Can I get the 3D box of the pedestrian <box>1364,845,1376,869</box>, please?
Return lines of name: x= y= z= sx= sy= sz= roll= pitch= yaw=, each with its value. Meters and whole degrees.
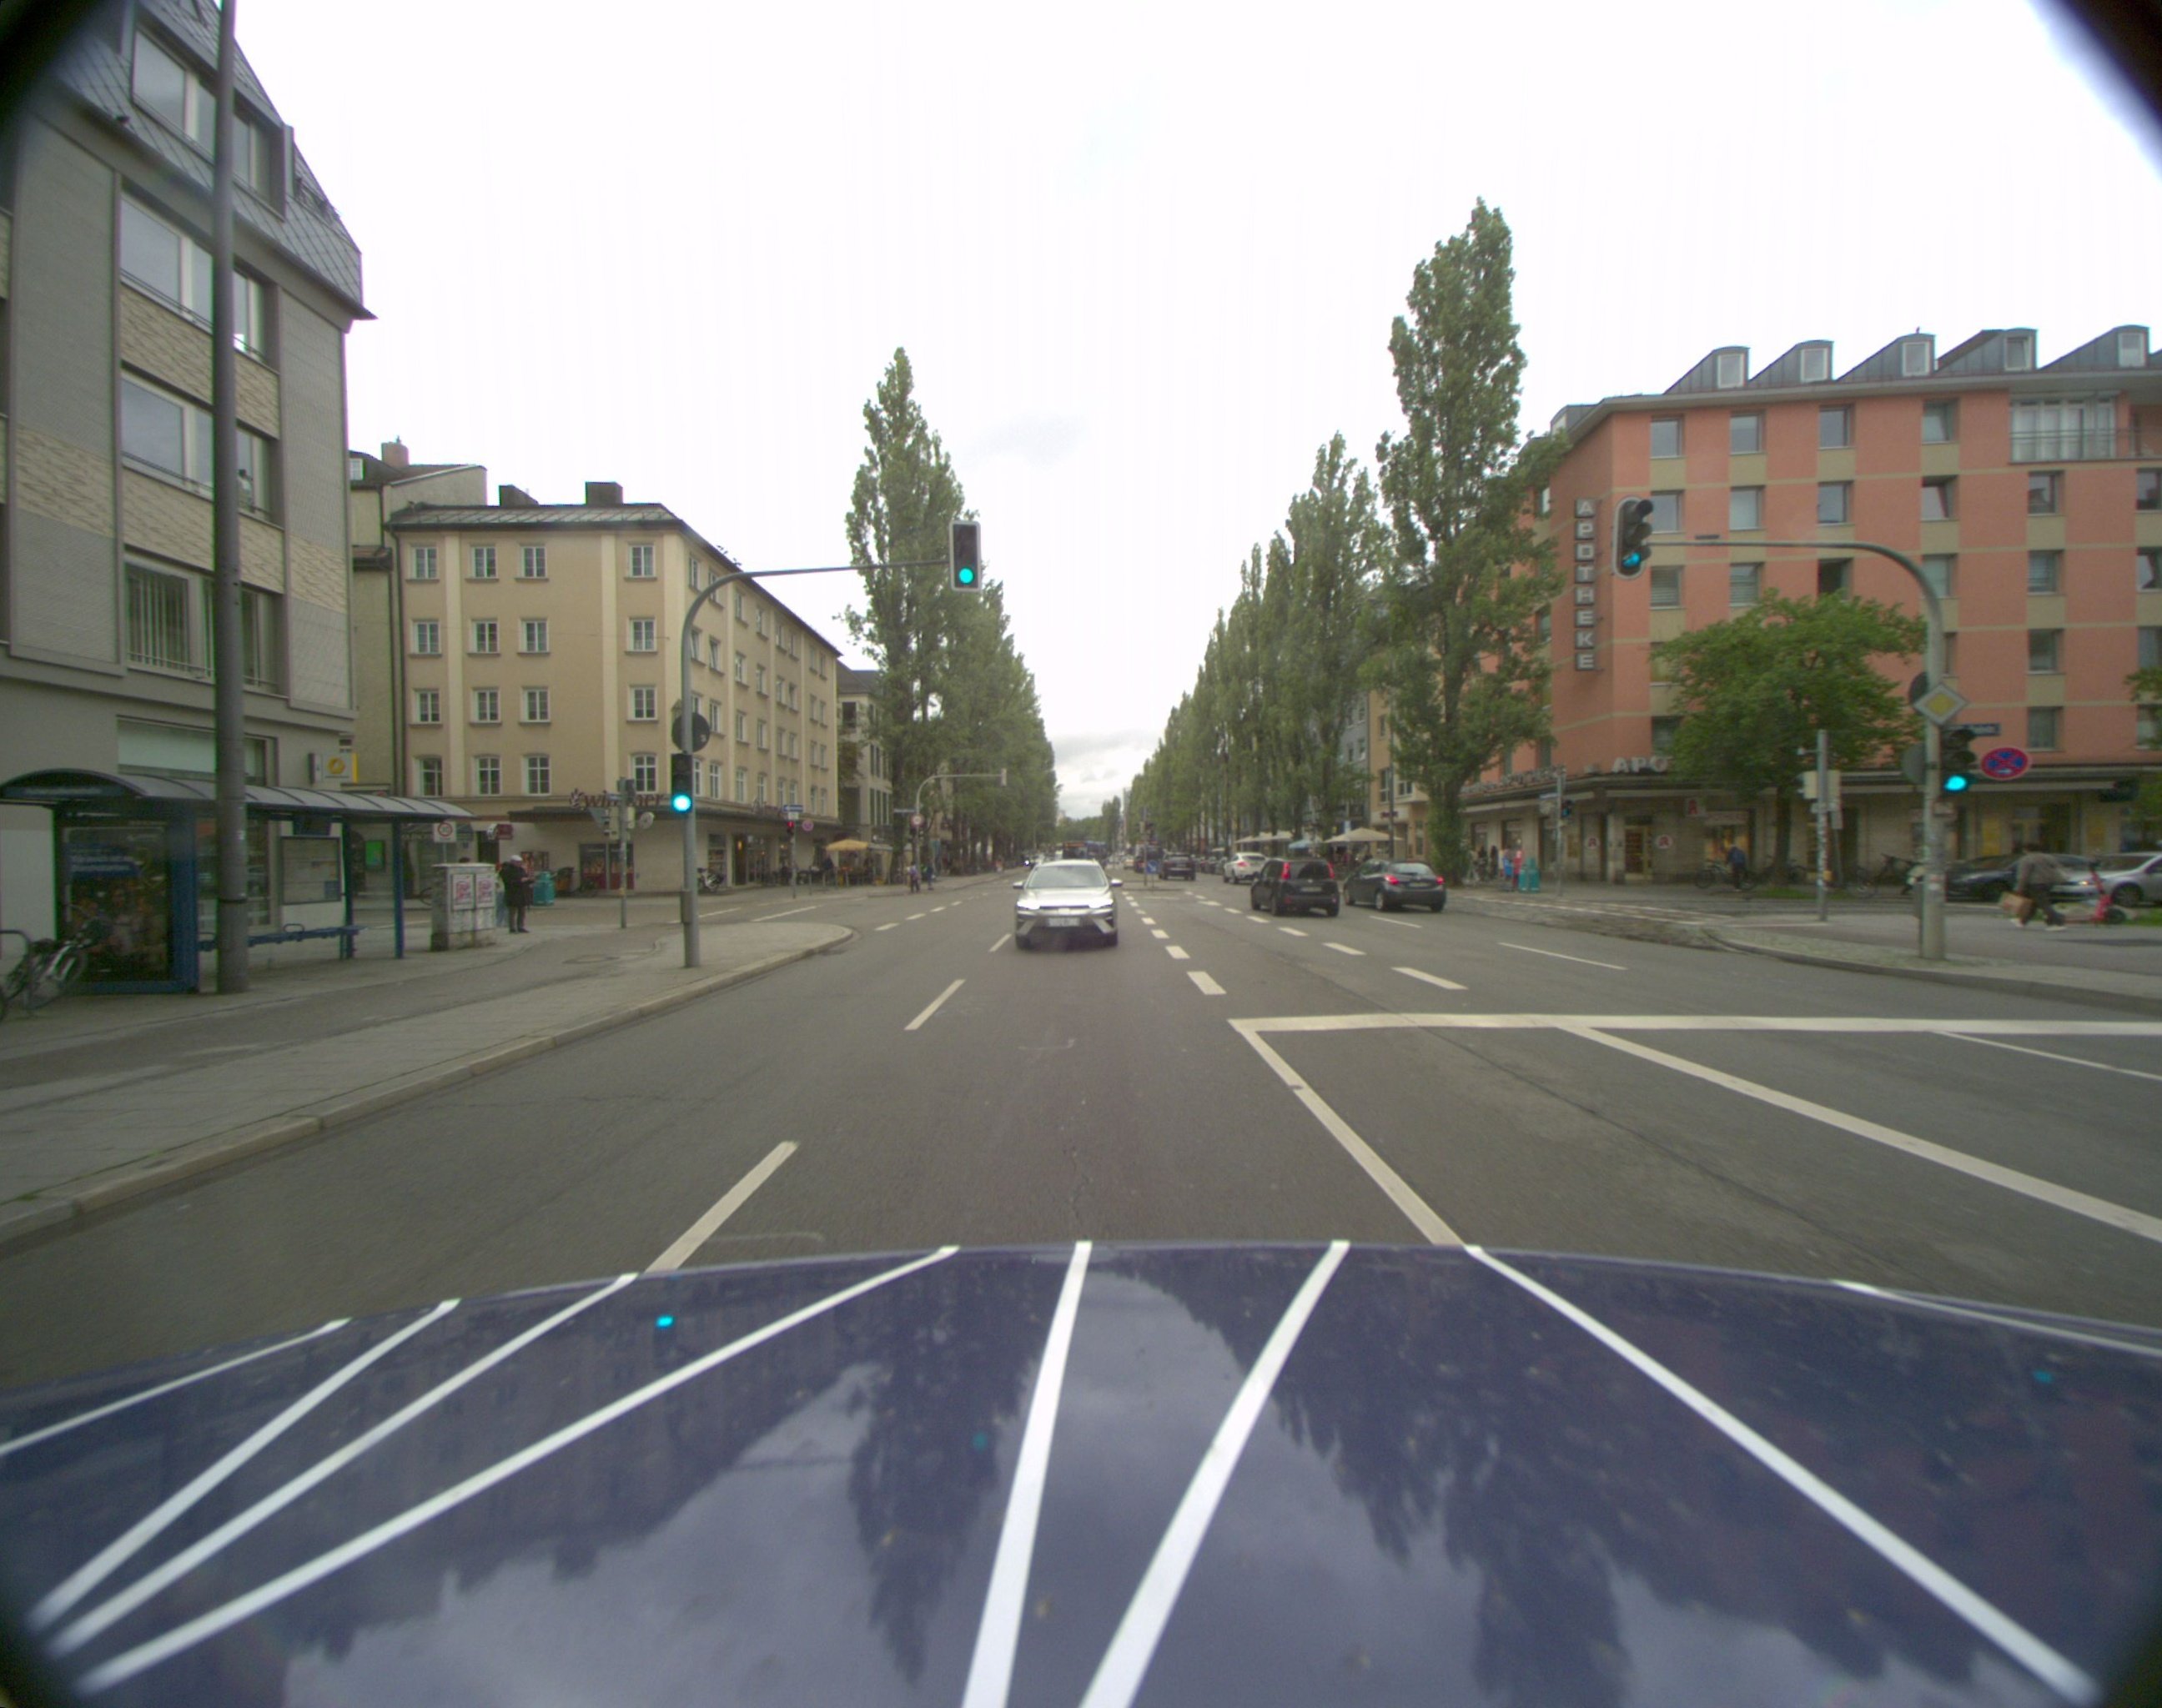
pedestrian: x=20.540 y=0.230 z=53.992 sx=0.556 sy=1.708 sz=0.692 roll=-1 pitch=1 yaw=0

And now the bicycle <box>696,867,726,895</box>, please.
bicycle: x=-16.443 y=1.182 z=33.775 sx=0.435 sy=1.164 sz=1.811 roll=-2 pitch=1 yaw=-1

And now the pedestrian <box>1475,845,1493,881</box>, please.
pedestrian: x=18.973 y=0.419 z=35.773 sx=0.508 sy=1.661 sz=0.626 roll=-2 pitch=1 yaw=2

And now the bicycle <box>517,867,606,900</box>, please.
bicycle: x=-21.887 y=1.241 z=32.050 sx=2.978 sy=1.245 sz=0.999 roll=-2 pitch=1 yaw=0

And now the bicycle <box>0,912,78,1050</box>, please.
bicycle: x=-11.080 y=1.213 z=7.258 sx=2.321 sy=1.245 sz=0.477 roll=-1 pitch=1 yaw=0

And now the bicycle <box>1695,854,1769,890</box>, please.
bicycle: x=22.881 y=0.644 z=26.714 sx=2.060 sy=1.177 sz=0.416 roll=-2 pitch=1 yaw=8

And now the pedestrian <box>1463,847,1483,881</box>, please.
pedestrian: x=18.338 y=0.484 z=35.529 sx=0.658 sy=1.574 sz=0.548 roll=-1 pitch=1 yaw=1

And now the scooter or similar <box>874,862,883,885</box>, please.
scooter or similar: x=-10.970 y=1.036 z=41.142 sx=0.408 sy=1.236 sz=1.370 roll=-1 pitch=0 yaw=-16

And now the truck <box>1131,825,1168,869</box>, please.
truck: x=5.948 y=-0.611 z=67.155 sx=2.469 sy=3.649 sz=8.438 roll=-1 pitch=1 yaw=0

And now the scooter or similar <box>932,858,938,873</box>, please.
scooter or similar: x=-12.779 y=1.014 z=66.441 sx=0.331 sy=1.266 sz=1.036 roll=-1 pitch=1 yaw=0

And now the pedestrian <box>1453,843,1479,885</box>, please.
pedestrian: x=16.516 y=0.425 z=32.619 sx=0.726 sy=1.761 sz=0.778 roll=-1 pitch=1 yaw=1

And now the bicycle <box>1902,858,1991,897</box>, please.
bicycle: x=28.194 y=0.751 z=24.777 sx=2.060 sy=1.177 sz=0.538 roll=-2 pitch=1 yaw=8

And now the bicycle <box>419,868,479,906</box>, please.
bicycle: x=-23.749 y=1.238 z=28.556 sx=1.832 sy=1.378 sz=0.481 roll=-1 pitch=1 yaw=2

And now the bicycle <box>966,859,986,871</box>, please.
bicycle: x=-9.961 y=1.059 z=71.919 sx=1.871 sy=1.129 sz=0.339 roll=-1 pitch=1 yaw=-8

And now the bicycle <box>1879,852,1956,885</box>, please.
bicycle: x=31.092 y=0.526 z=28.260 sx=2.061 sy=1.177 sz=0.690 roll=-1 pitch=1 yaw=3

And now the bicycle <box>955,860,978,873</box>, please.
bicycle: x=-9.919 y=1.098 z=65.919 sx=2.005 sy=1.077 sz=0.286 roll=-1 pitch=1 yaw=-9

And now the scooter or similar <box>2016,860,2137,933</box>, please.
scooter or similar: x=18.813 y=0.789 z=14.383 sx=1.362 sy=1.331 sz=0.439 roll=-1 pitch=1 yaw=20

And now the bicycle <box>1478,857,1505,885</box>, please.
bicycle: x=17.496 y=0.713 z=32.400 sx=0.422 sy=1.135 sz=1.373 roll=-1 pitch=0 yaw=1

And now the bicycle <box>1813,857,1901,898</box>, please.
bicycle: x=23.662 y=0.685 z=23.235 sx=0.416 sy=1.177 sz=2.062 roll=-1 pitch=0 yaw=-6

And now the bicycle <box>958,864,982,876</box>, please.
bicycle: x=-9.683 y=1.405 z=66.327 sx=2.005 sy=0.939 sz=0.286 roll=-1 pitch=1 yaw=-8

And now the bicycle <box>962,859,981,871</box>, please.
bicycle: x=-10.174 y=1.058 z=70.635 sx=1.666 sy=1.100 sz=0.396 roll=-1 pitch=1 yaw=-11

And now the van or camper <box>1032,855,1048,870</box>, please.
van or camper: x=-5.370 y=1.151 z=100.071 sx=1.795 sy=1.894 sz=4.565 roll=-1 pitch=0 yaw=1

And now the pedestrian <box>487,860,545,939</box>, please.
pedestrian: x=-12.893 y=1.021 z=17.353 sx=0.710 sy=1.748 sz=0.752 roll=-1 pitch=1 yaw=2

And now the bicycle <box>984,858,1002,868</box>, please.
bicycle: x=-9.671 y=0.991 z=83.687 sx=1.902 sy=1.120 sz=0.686 roll=-1 pitch=1 yaw=0

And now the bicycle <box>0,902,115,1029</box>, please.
bicycle: x=-11.570 y=1.180 z=8.449 sx=2.241 sy=1.245 sz=0.478 roll=-1 pitch=1 yaw=24

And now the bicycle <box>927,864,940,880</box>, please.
bicycle: x=-9.529 y=1.173 z=49.143 sx=0.510 sy=0.970 sz=1.770 roll=-1 pitch=0 yaw=-2

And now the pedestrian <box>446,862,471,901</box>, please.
pedestrian: x=-25.875 y=1.140 z=31.587 sx=0.584 sy=1.548 sz=0.445 roll=-2 pitch=1 yaw=1

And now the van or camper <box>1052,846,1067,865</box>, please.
van or camper: x=-3.455 y=0.295 z=123.828 sx=1.998 sy=2.468 sz=6.649 roll=-2 pitch=-4 yaw=1

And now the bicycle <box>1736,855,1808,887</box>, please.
bicycle: x=26.059 y=0.646 z=28.680 sx=2.061 sy=1.177 sz=0.690 roll=-1 pitch=1 yaw=3

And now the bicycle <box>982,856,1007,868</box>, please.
bicycle: x=-9.404 y=0.858 z=82.369 sx=2.577 sy=1.208 sz=0.965 roll=-1 pitch=1 yaw=0

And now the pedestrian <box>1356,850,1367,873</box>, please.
pedestrian: x=19.955 y=0.504 z=54.077 sx=0.556 sy=1.629 sz=0.692 roll=-1 pitch=1 yaw=0

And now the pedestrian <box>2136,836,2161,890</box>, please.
pedestrian: x=35.925 y=0.296 z=25.230 sx=0.664 sy=1.756 sz=0.781 roll=-1 pitch=1 yaw=0

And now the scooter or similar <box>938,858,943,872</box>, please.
scooter or similar: x=-12.296 y=0.957 z=66.387 sx=0.248 sy=1.266 sz=1.036 roll=-1 pitch=1 yaw=0

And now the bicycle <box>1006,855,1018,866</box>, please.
bicycle: x=-9.575 y=0.880 z=105.018 sx=0.829 sy=1.403 sz=2.594 roll=-2 pitch=0 yaw=-26

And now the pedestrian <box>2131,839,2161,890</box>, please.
pedestrian: x=37.626 y=0.358 z=26.600 sx=0.664 sy=1.757 sz=0.781 roll=-2 pitch=1 yaw=0

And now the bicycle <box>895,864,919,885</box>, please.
bicycle: x=-9.805 y=1.128 z=42.808 sx=0.405 sy=1.064 sz=1.813 roll=-6 pitch=0 yaw=16
